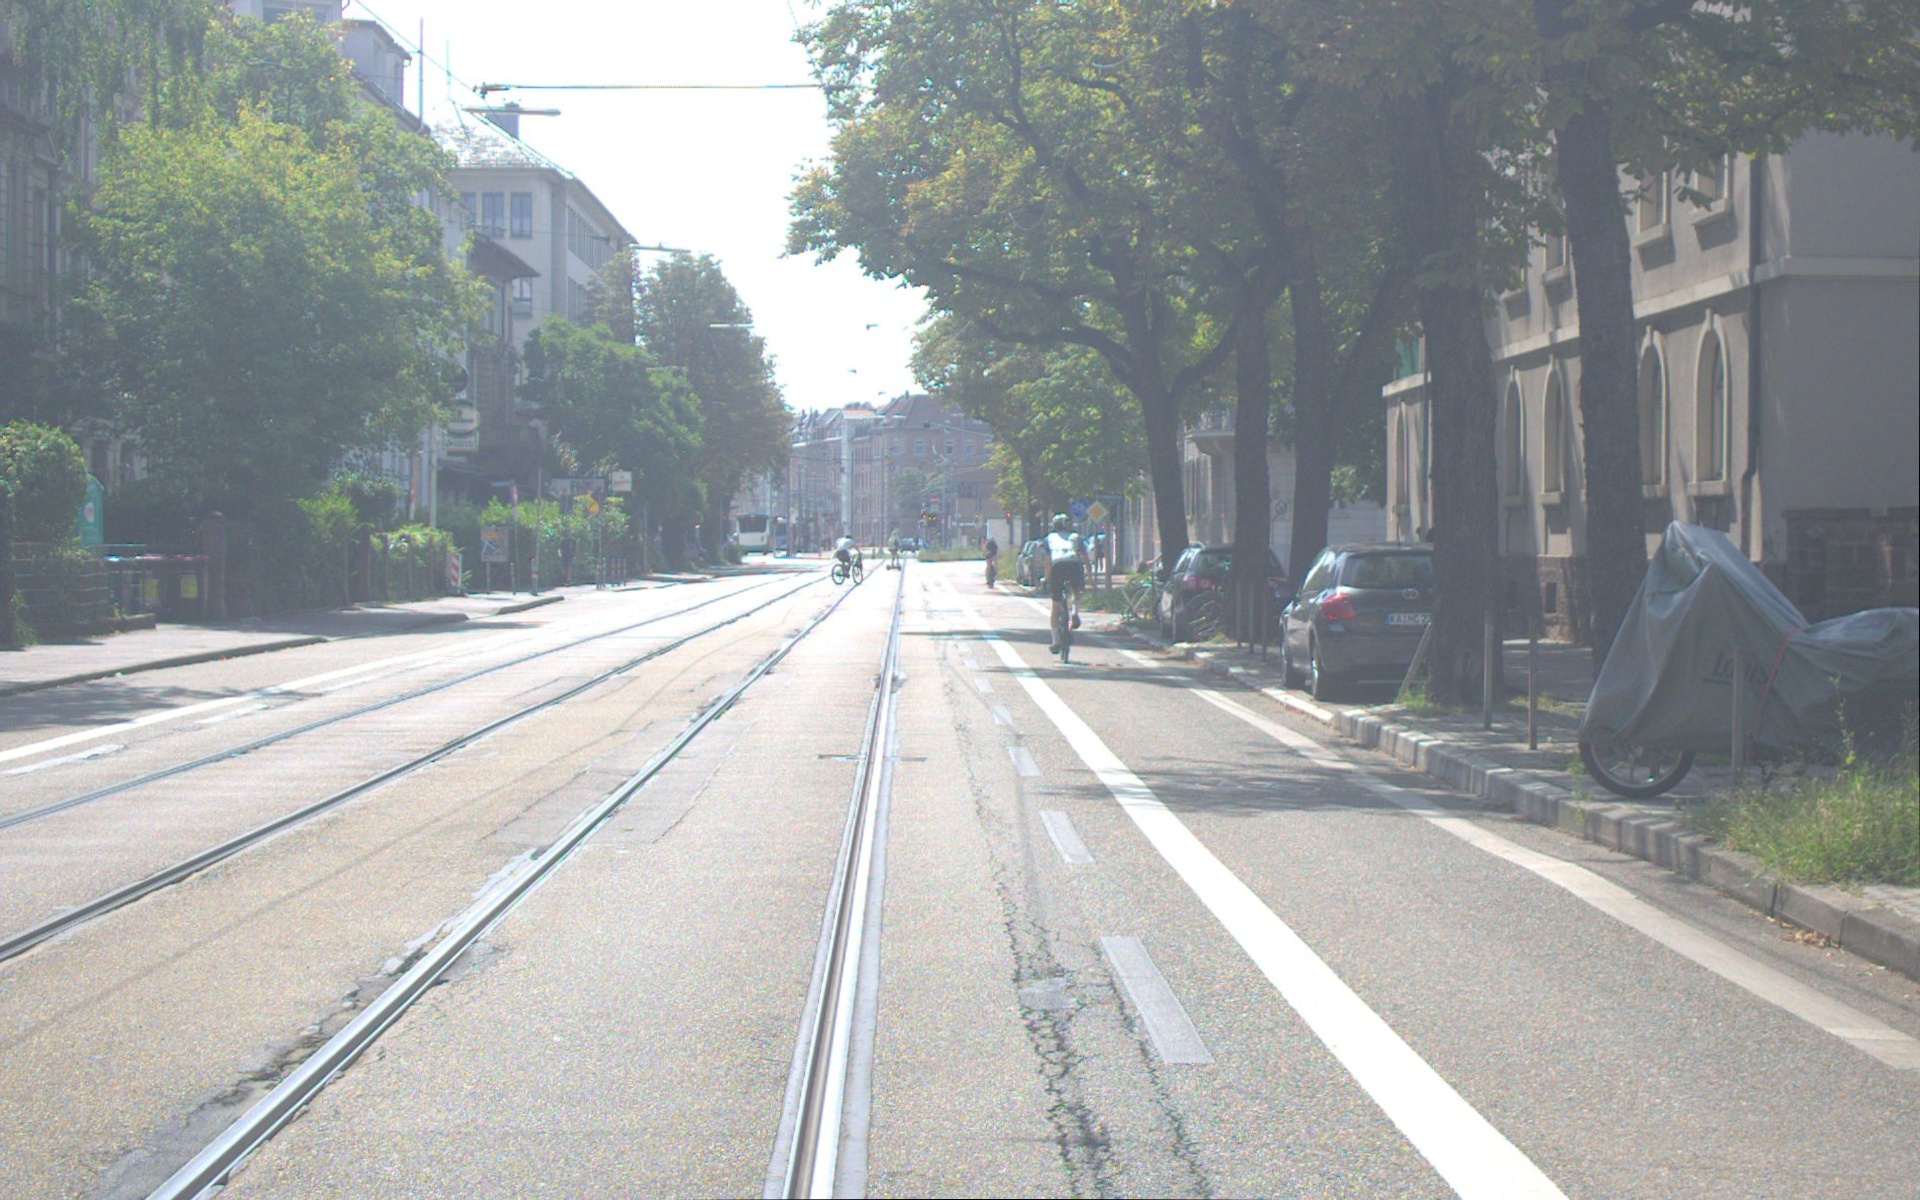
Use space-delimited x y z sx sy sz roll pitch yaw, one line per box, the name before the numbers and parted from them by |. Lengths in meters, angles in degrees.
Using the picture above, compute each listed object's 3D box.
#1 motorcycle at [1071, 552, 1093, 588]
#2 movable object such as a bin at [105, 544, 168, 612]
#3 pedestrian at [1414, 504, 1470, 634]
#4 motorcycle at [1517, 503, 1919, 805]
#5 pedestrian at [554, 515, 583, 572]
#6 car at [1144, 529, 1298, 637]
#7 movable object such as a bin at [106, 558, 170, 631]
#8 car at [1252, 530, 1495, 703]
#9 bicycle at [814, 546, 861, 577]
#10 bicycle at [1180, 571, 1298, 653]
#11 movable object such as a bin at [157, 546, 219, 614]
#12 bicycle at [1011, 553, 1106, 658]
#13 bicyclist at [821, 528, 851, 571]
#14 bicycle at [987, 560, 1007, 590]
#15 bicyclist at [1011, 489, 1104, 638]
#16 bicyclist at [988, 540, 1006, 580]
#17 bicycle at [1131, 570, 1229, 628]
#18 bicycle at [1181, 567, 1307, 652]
motorcycle | 3.685 -0.903 103.910 0.549 1.064 2.330 0 1 -1
movable object such as a bin | -13.356 -0.357 55.790 0.786 1.072 0.803 2 1 2
pedestrian | 7.037 -0.457 50.212 0.706 1.885 0.714 0 0 1
motorcycle | 4.296 0.297 18.602 2.344 1.535 0.966 -2 -1 41
pedestrian | -11.965 -1.725 105.079 0.779 1.750 1.040 0 0 0
car | 3.873 -0.284 51.738 1.840 1.527 4.780 -1 1 -1
movable object such as a bin | -12.438 -0.093 52.044 0.786 1.072 0.755 2 1 -2
car | 4.059 0.116 34.357 1.840 1.527 4.115 0 3 -1
bicycle | -3.980 -1.240 111.889 0.759 0.987 2.296 1 1 19
bicycle | 3.868 0.165 47.567 1.606 1.100 0.398 1 1 6
movable object such as a bin | -12.534 -0.333 55.836 0.786 1.072 0.803 2 1 2
bicycle | 1.213 0.051 43.130 1.148 1.265 2.712 0 1 1
bicyclist | -4.030 -1.638 111.736 0.759 1.387 0.778 1 0 20
bicycle | 1.177 -0.794 109.245 0.588 0.936 2.172 0 1 2
bicyclist | 1.211 -0.457 43.020 1.125 1.830 0.956 0 0 0
bicyclist | 1.177 -1.278 109.189 0.579 1.274 0.471 0 0 2
bicycle | 3.962 -0.018 61.969 1.713 1.028 0.566 0 1 0
bicycle | 3.963 0.130 47.954 1.723 1.145 0.377 1 1 6
